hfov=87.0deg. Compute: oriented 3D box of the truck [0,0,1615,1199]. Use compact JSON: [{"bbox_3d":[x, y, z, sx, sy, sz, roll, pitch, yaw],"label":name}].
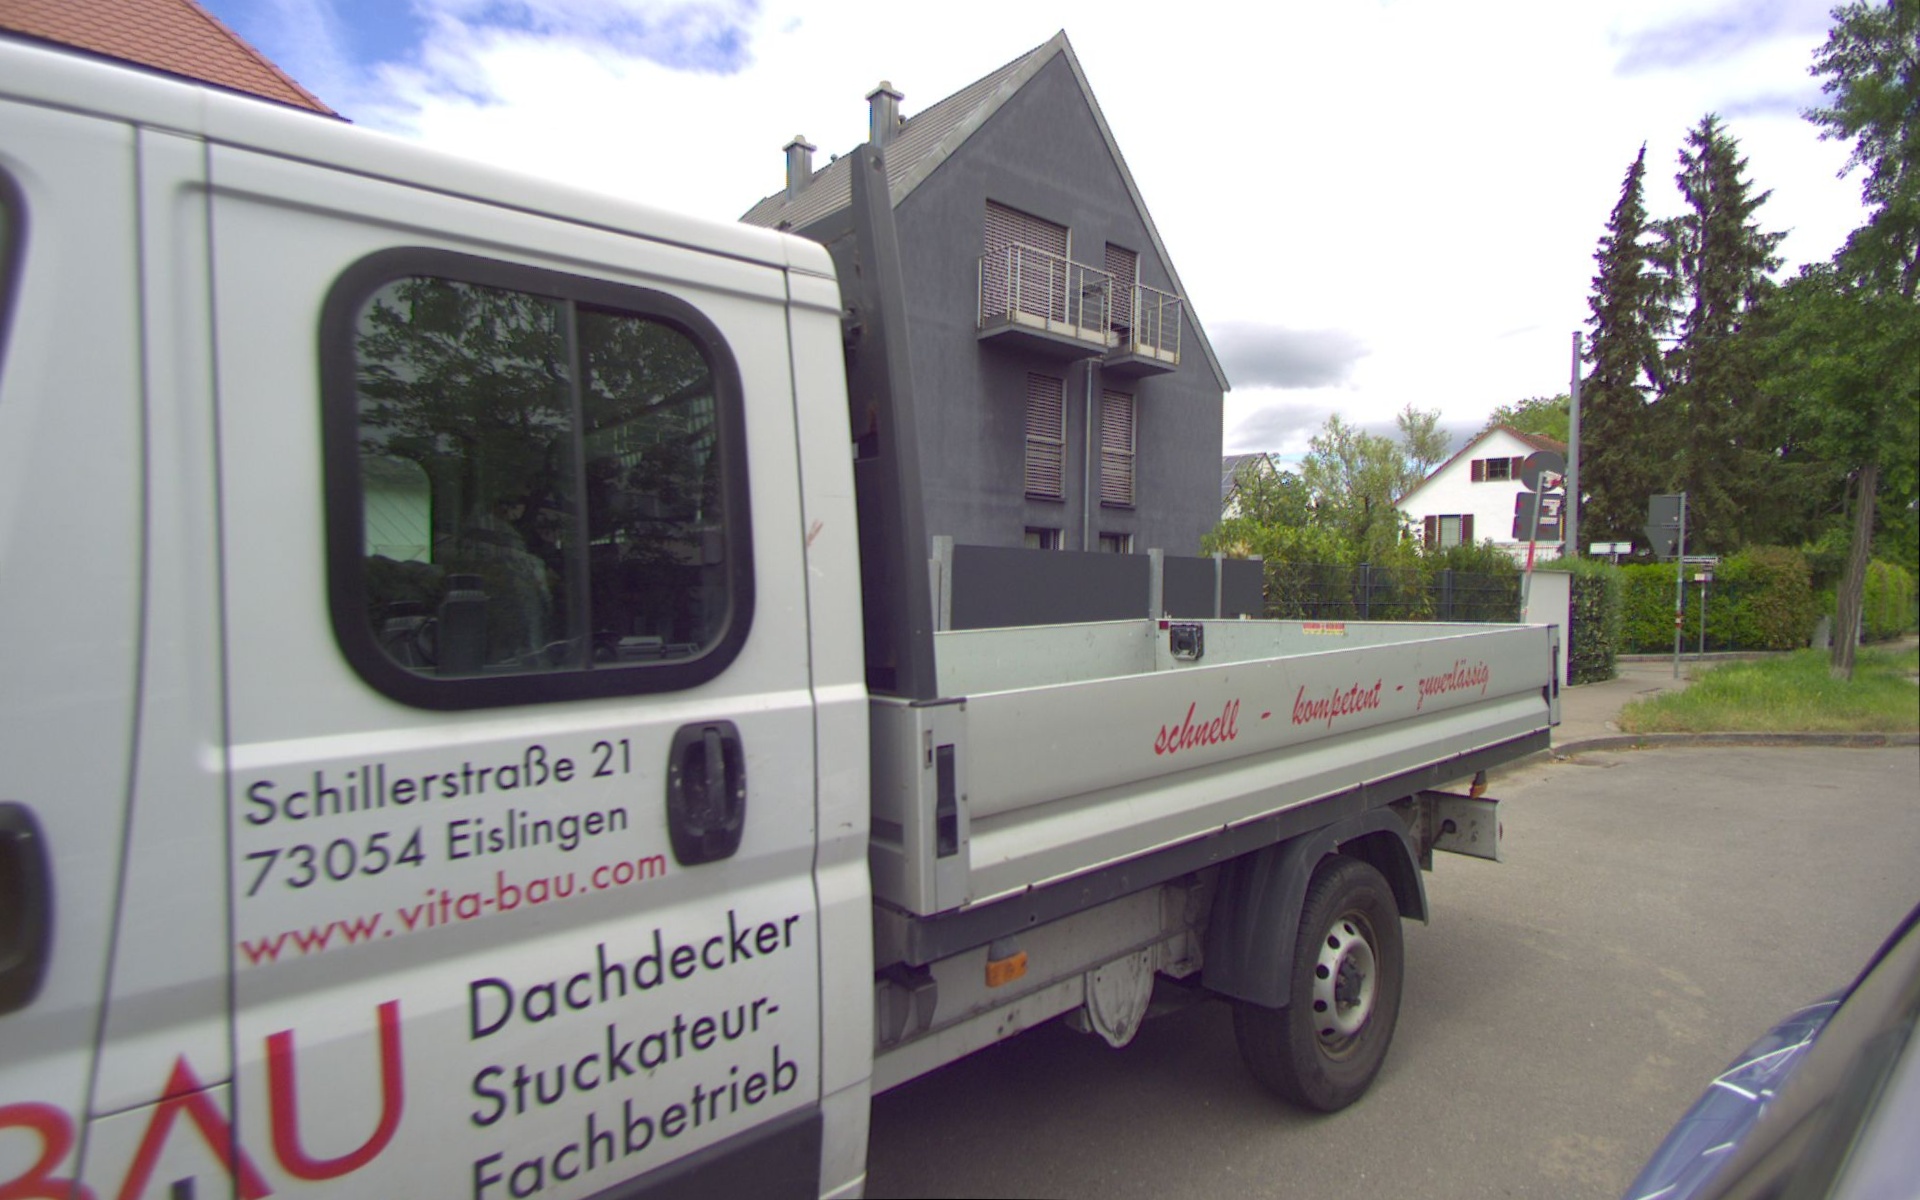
[{"bbox_3d":[-0.753,0.203,2.598,7.301,2.503,2.191,0,0,-41],"label":"truck"}]
